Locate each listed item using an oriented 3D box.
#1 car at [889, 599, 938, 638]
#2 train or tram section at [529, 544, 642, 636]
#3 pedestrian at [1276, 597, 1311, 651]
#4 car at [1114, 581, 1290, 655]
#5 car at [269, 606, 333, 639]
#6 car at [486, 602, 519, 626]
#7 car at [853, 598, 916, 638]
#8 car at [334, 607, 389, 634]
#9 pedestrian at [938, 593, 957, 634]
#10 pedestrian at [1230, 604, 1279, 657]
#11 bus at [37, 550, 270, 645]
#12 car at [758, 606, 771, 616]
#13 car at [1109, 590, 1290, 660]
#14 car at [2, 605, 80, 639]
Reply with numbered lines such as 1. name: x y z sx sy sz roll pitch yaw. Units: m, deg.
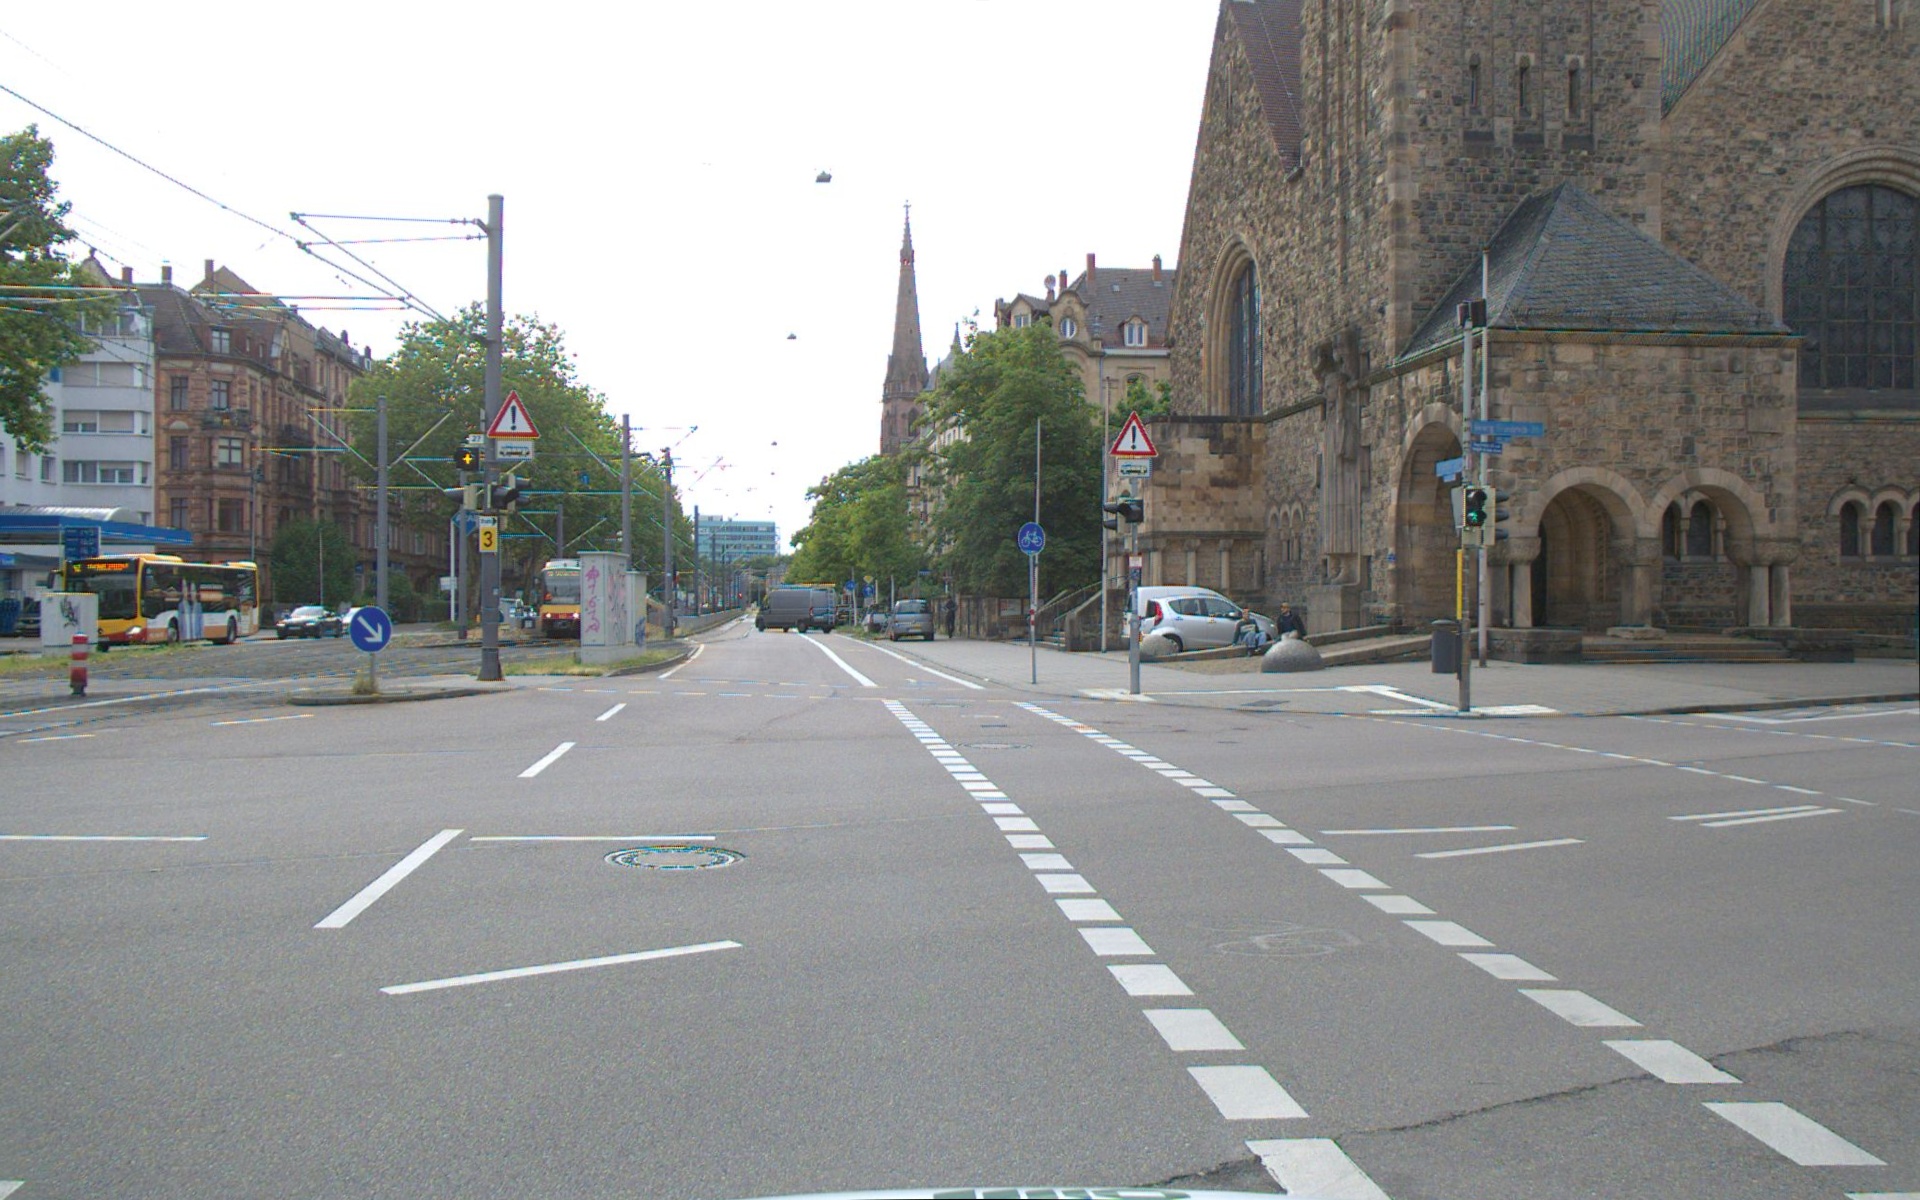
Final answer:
1. car: -1.912 0.726 66.746 1.670 1.484 3.885 1 0 -6
2. train or tram section: -18.787 -0.450 84.141 3.572 4.164 15.021 1 0 -5
3. pedestrian: 7.878 0.570 39.142 0.721 1.250 1.063 1 0 8
4. car: 6.676 0.495 45.759 4.523 1.914 1.660 1 0 -7
5. car: -29.559 0.978 74.281 1.670 1.382 3.885 1 0 -6
6. car: -33.822 1.020 122.404 1.670 1.742 3.885 1 0 -6
7. car: -3.546 0.784 76.705 2.163 1.776 5.019 0 0 -12
8. car: -29.938 1.024 82.810 1.670 1.242 3.885 1 0 -6
9. pedestrian: -0.525 0.565 69.278 0.760 1.676 0.798 1 0 -1
10. pedestrian: 6.927 0.703 39.010 0.722 1.212 1.491 1 0 -6
11. bus: -27.796 -0.071 57.912 3.218 2.906 12.364 1 0 -6
12. car: -29.778 1.672 251.847 1.770 1.364 3.993 0 0 -8
13. car: 6.097 0.640 42.282 4.266 1.665 1.660 1 0 -7
14. car: -39.521 0.941 71.208 1.670 1.382 3.399 1 0 -6
